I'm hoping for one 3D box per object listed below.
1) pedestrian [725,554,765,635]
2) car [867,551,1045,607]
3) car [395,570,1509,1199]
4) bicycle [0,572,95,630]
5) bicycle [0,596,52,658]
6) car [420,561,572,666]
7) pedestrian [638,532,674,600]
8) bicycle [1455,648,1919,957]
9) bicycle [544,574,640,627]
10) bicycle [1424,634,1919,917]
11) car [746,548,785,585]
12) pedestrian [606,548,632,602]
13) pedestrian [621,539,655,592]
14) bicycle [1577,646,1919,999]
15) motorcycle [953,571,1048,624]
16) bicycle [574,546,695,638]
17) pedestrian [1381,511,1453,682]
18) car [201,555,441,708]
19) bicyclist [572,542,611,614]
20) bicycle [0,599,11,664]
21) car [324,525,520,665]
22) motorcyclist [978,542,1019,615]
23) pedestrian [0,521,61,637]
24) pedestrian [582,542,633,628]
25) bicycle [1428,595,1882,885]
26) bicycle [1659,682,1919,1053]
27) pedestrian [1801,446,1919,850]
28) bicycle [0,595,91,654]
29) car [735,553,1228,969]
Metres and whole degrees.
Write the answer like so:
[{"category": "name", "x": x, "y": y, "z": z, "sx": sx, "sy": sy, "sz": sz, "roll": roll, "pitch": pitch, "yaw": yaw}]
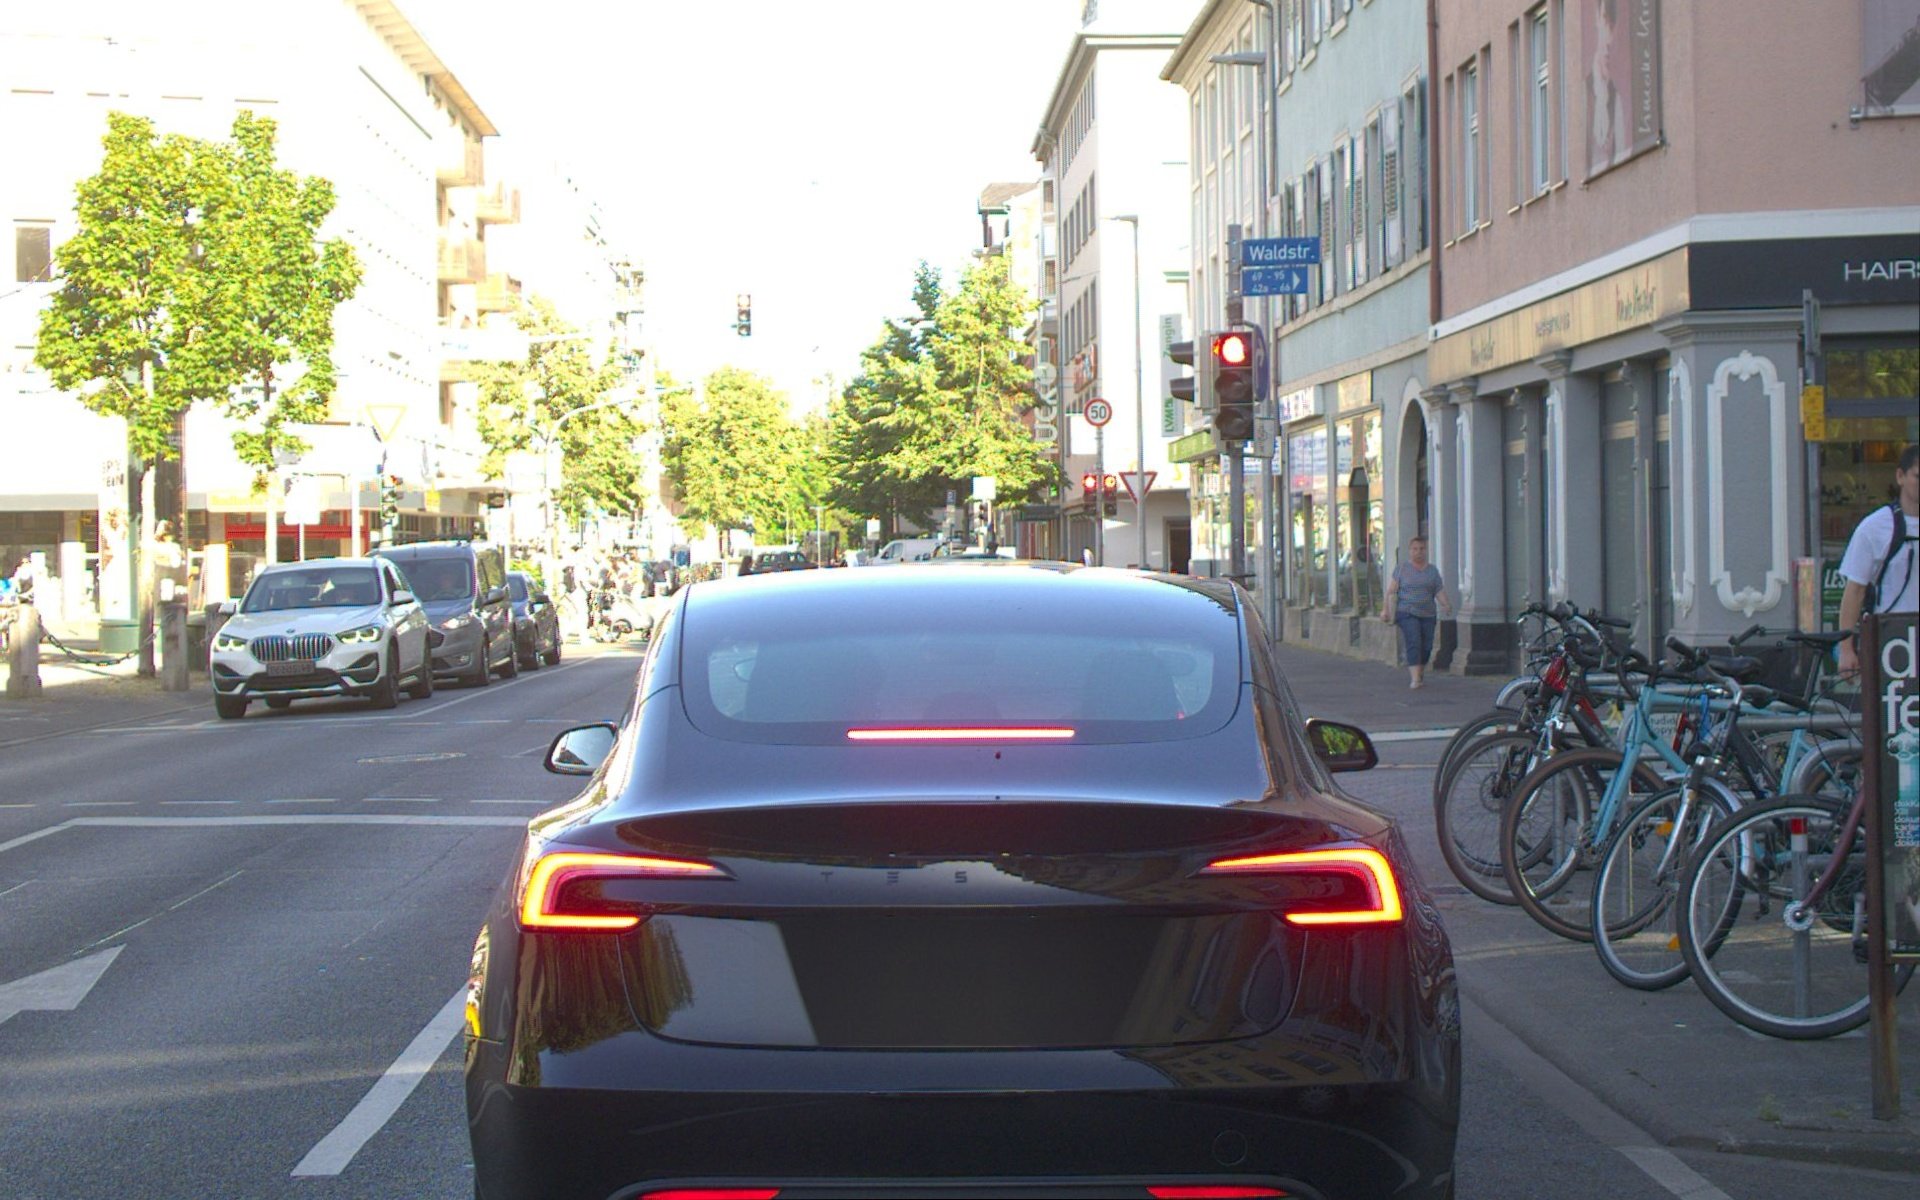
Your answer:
[{"category": "pedestrian", "x": -4.082, "y": -0.102, "z": 65.270, "sx": 0.622, "sy": 1.532, "sz": 0.514, "roll": 1, "pitch": 0, "yaw": -18}, {"category": "car", "x": -0.107, "y": -0.523, "z": 85.054, "sx": 3.986, "sy": 1.349, "sz": 1.909, "roll": 0, "pitch": 1, "yaw": -21}, {"category": "car", "x": -0.036, "y": 0.657, "z": 7.631, "sx": 1.822, "sy": 1.437, "sz": 4.000, "roll": 0, "pitch": 1, "yaw": -1}, {"category": "bicycle", "x": -20.834, "y": 0.023, "z": 77.801, "sx": 2.361, "sy": 1.291, "sz": 0.513, "roll": 1, "pitch": 0, "yaw": -26}, {"category": "bicycle", "x": -14.809, "y": 0.414, "z": 52.254, "sx": 1.864, "sy": 0.931, "sz": 0.606, "roll": 0, "pitch": 1, "yaw": -1}, {"category": "car", "x": -6.706, "y": 0.171, "z": 49.982, "sx": 1.715, "sy": 1.441, "sz": 3.845, "roll": 1, "pitch": 1, "yaw": -1}, {"category": "pedestrian", "x": -8.048, "y": -0.905, "z": 91.069, "sx": 0.671, "sy": 1.782, "sz": 0.712, "roll": 0, "pitch": 0, "yaw": -36}, {"category": "bicycle", "x": 2.775, "y": 0.721, "z": 12.467, "sx": 1.873, "sy": 1.034, "sz": 0.533, "roll": -2, "pitch": 0, "yaw": 4}, {"category": "bicycle", "x": -7.152, "y": 0.005, "z": 66.855, "sx": 1.784, "sy": 1.003, "sz": 0.472, "roll": 1, "pitch": 0, "yaw": -16}, {"category": "bicycle", "x": 2.812, "y": 0.690, "z": 13.637, "sx": 1.873, "sy": 1.034, "sz": 0.547, "roll": -2, "pitch": 0, "yaw": 5}, {"category": "car", "x": -9.196, "y": -1.596, "z": 162.643, "sx": 1.751, "sy": 1.683, "sz": 3.832, "roll": 1, "pitch": 1, "yaw": -3}, {"category": "pedestrian", "x": -9.049, "y": -0.670, "z": 91.332, "sx": 0.521, "sy": 1.417, "sz": 0.479, "roll": 1, "pitch": 0, "yaw": -30}, {"category": "pedestrian", "x": -8.458, "y": -0.902, "z": 90.269, "sx": 0.671, "sy": 1.389, "sz": 0.590, "roll": 0, "pitch": 0, "yaw": -36}, {"category": "bicycle", "x": 2.993, "y": 0.703, "z": 11.169, "sx": 1.873, "sy": 1.084, "sz": 0.414, "roll": -2, "pitch": 0, "yaw": 4}, {"category": "motorcycle", "x": 0.850, "y": -0.055, "z": 72.000, "sx": 1.926, "sy": 1.107, "sz": 0.519, "roll": 0, "pitch": 1, "yaw": -22}, {"category": "bicycle", "x": -5.981, "y": -0.152, "z": 63.154, "sx": 2.101, "sy": 1.659, "sz": 0.669, "roll": 1, "pitch": 0, "yaw": -16}, {"category": "pedestrian", "x": 4.656, "y": -0.041, "z": 35.050, "sx": 0.706, "sy": 1.736, "sz": 0.540, "roll": 0, "pitch": 1, "yaw": 5}, {"category": "car", "x": -6.657, "y": 0.294, "z": 36.163, "sx": 1.789, "sy": 1.455, "sz": 3.757, "roll": -2, "pitch": 1, "yaw": 0}, {"category": "bicyclist", "x": -7.161, "y": -0.424, "z": 66.843, "sx": 0.669, "sy": 1.390, "sz": 0.462, "roll": 1, "pitch": 0, "yaw": -16}, {"category": "bicycle", "x": -14.785, "y": 0.438, "z": 49.842, "sx": 1.864, "sy": 0.931, "sz": 0.606, "roll": 1, "pitch": 0, "yaw": -1}, {"category": "car", "x": -6.582, "y": -0.096, "z": 42.475, "sx": 1.787, "sy": 1.640, "sz": 4.403, "roll": 0, "pitch": 1, "yaw": -1}, {"category": "motorcyclist", "x": 0.802, "y": -0.450, "z": 71.978, "sx": 0.719, "sy": 1.523, "sz": 0.516, "roll": 0, "pitch": 1, "yaw": -23}, {"category": "pedestrian", "x": -16.337, "y": -0.367, "z": 60.130, "sx": 1.057, "sy": 2.007, "sz": 1.055, "roll": 1, "pitch": 0, "yaw": -20}, {"category": "pedestrian", "x": -6.716, "y": -0.288, "z": 65.441, "sx": 0.754, "sy": 1.626, "sz": 0.956, "roll": 1, "pitch": 0, "yaw": -18}, {"category": "bicycle", "x": 2.962, "y": 0.593, "z": 14.756, "sx": 1.828, "sy": 1.165, "sz": 0.505, "roll": -2, "pitch": 0, "yaw": 5}, {"category": "bicycle", "x": 3.016, "y": 0.756, "z": 9.989, "sx": 1.873, "sy": 1.034, "sz": 0.353, "roll": -2, "pitch": 0, "yaw": 6}, {"category": "pedestrian", "x": 4.235, "y": 0.208, "z": 15.394, "sx": 0.750, "sy": 1.759, "sz": 0.836, "roll": 1, "pitch": 0, "yaw": 4}, {"category": "bicycle", "x": -14.837, "y": 0.389, "z": 54.703, "sx": 1.864, "sy": 0.931, "sz": 0.606, "roll": 0, "pitch": 1, "yaw": -1}, {"category": "car", "x": 0.008, "y": 0.535, "z": 13.852, "sx": 1.718, "sy": 1.420, "sz": 3.758, "roll": 0, "pitch": 1, "yaw": -2}]
